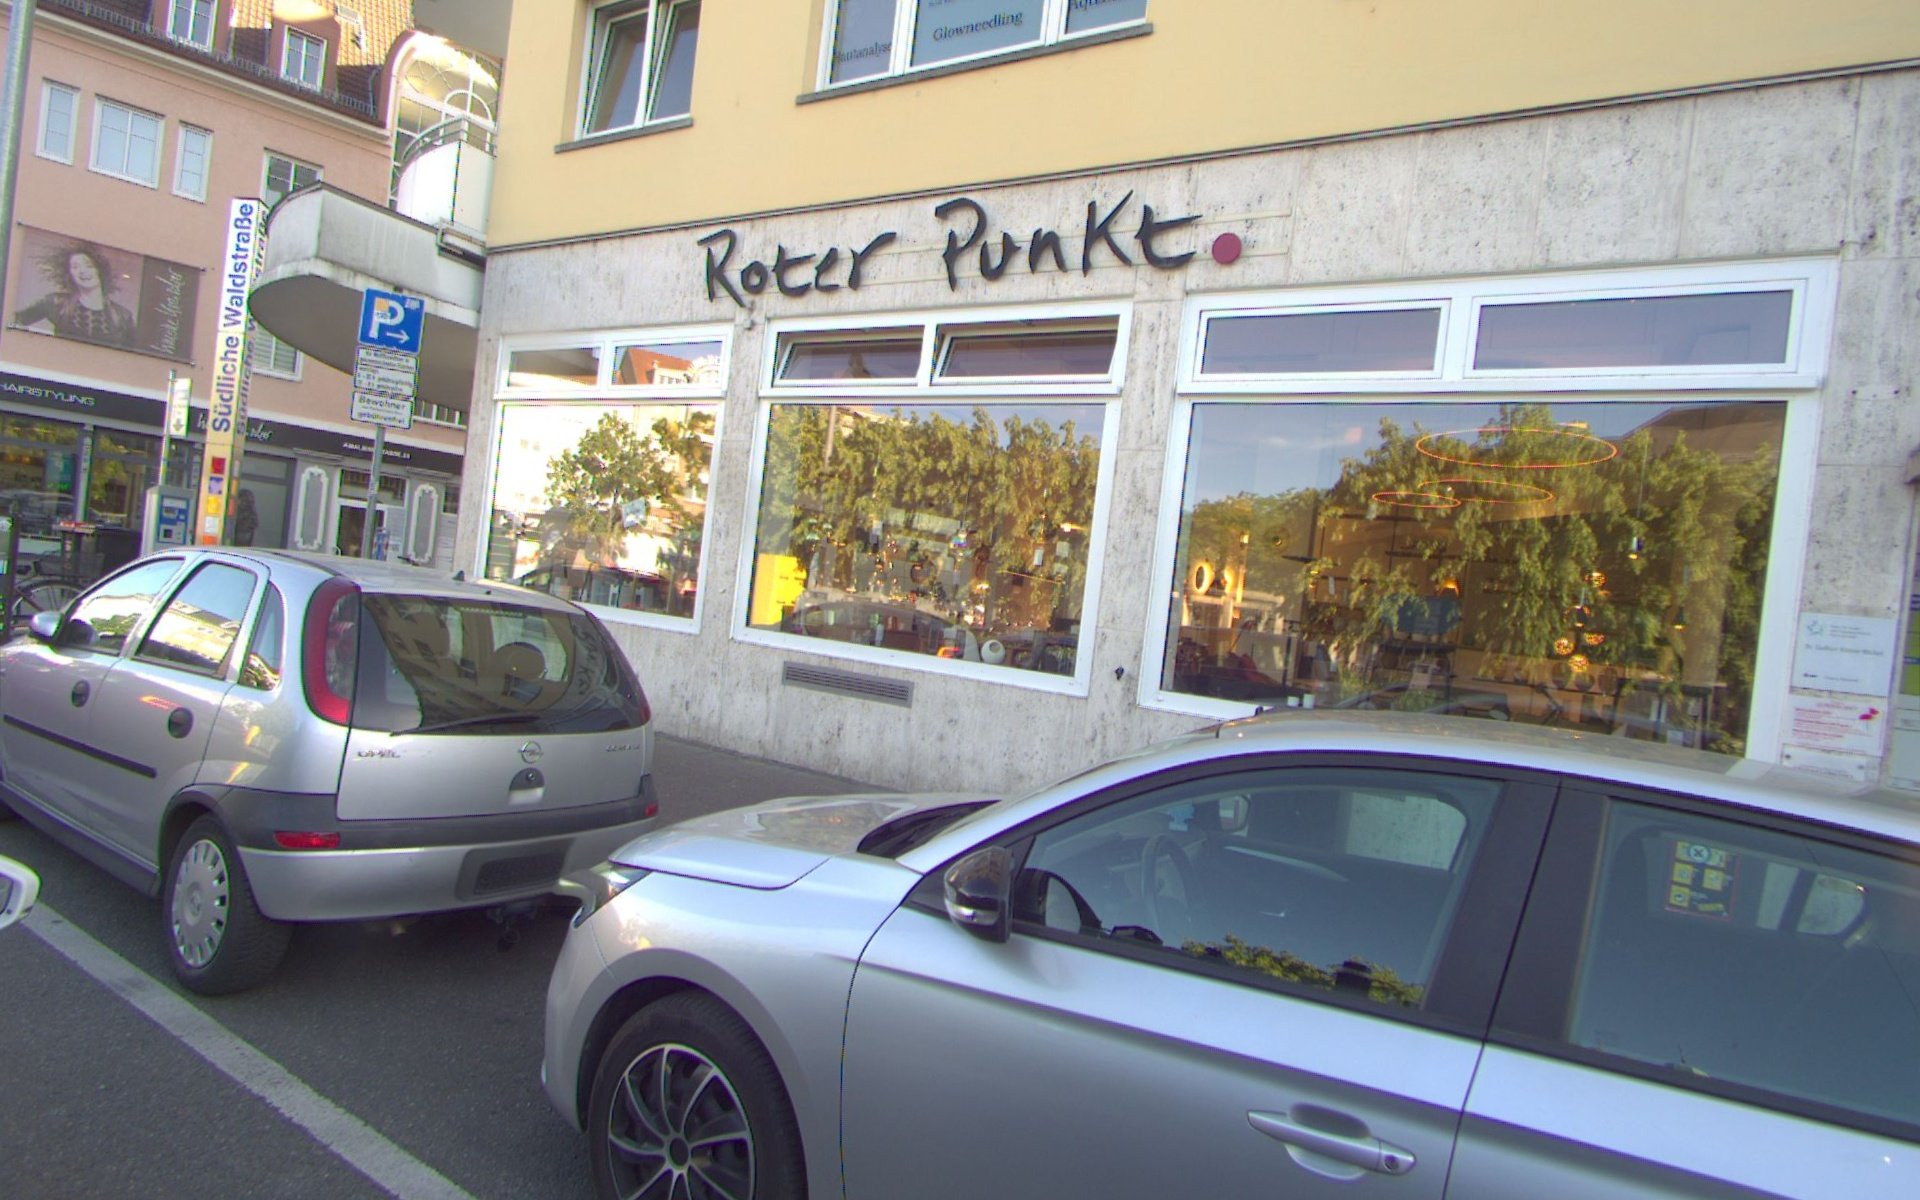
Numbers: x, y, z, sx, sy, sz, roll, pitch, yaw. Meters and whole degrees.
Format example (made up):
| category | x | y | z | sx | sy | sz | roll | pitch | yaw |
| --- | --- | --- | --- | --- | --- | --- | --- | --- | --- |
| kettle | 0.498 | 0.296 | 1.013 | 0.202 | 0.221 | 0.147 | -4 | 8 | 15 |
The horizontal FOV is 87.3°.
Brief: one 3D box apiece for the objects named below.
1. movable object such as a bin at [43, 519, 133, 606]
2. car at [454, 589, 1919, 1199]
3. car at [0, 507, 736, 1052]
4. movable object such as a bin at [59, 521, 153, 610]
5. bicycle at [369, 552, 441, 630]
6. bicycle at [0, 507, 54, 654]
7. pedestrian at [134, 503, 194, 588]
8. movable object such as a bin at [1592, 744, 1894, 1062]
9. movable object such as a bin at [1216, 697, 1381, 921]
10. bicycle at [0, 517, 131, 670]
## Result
| category | x | y | z | sx | sy | sz | roll | pitch | yaw |
| --- | --- | --- | --- | --- | --- | --- | --- | --- | --- |
| movable object such as a bin | -12.436 | -0.528 | 14.346 | 0.617 | 1.105 | 0.734 | 6 | -1 | 34 |
| car | 0.780 | 0.926 | 2.306 | 3.643 | 1.415 | 1.652 | 7 | -1 | 30 |
| car | -2.940 | 0.479 | 4.458 | 3.583 | 1.397 | 1.616 | 7 | -2 | 32 |
| movable object such as a bin | -11.900 | -0.470 | 14.026 | 0.617 | 1.105 | 0.754 | 6 | -1 | 34 |
| bicycle | -9.966 | -0.181 | 18.014 | 0.656 | 1.213 | 2.187 | 7 | -1 | -39 |
| bicycle | -9.108 | -0.236 | 8.699 | 0.778 | 1.284 | 1.721 | 7 | 1 | 37 |
| pedestrian | -15.803 | -1.071 | 19.981 | 0.742 | 1.571 | 0.692 | 7 | 0 | -35 |
| movable object such as a bin | 3.399 | 1.262 | 4.474 | 0.879 | 1.066 | 0.751 | 7 | 0 | 32 |
| movable object such as a bin | 1.872 | 1.091 | 5.519 | 0.592 | 1.041 | 0.811 | 7 | 0 | 32 |
| bicycle | -8.104 | -0.085 | 8.225 | 0.681 | 1.208 | 1.885 | 8 | 1 | 37 |
